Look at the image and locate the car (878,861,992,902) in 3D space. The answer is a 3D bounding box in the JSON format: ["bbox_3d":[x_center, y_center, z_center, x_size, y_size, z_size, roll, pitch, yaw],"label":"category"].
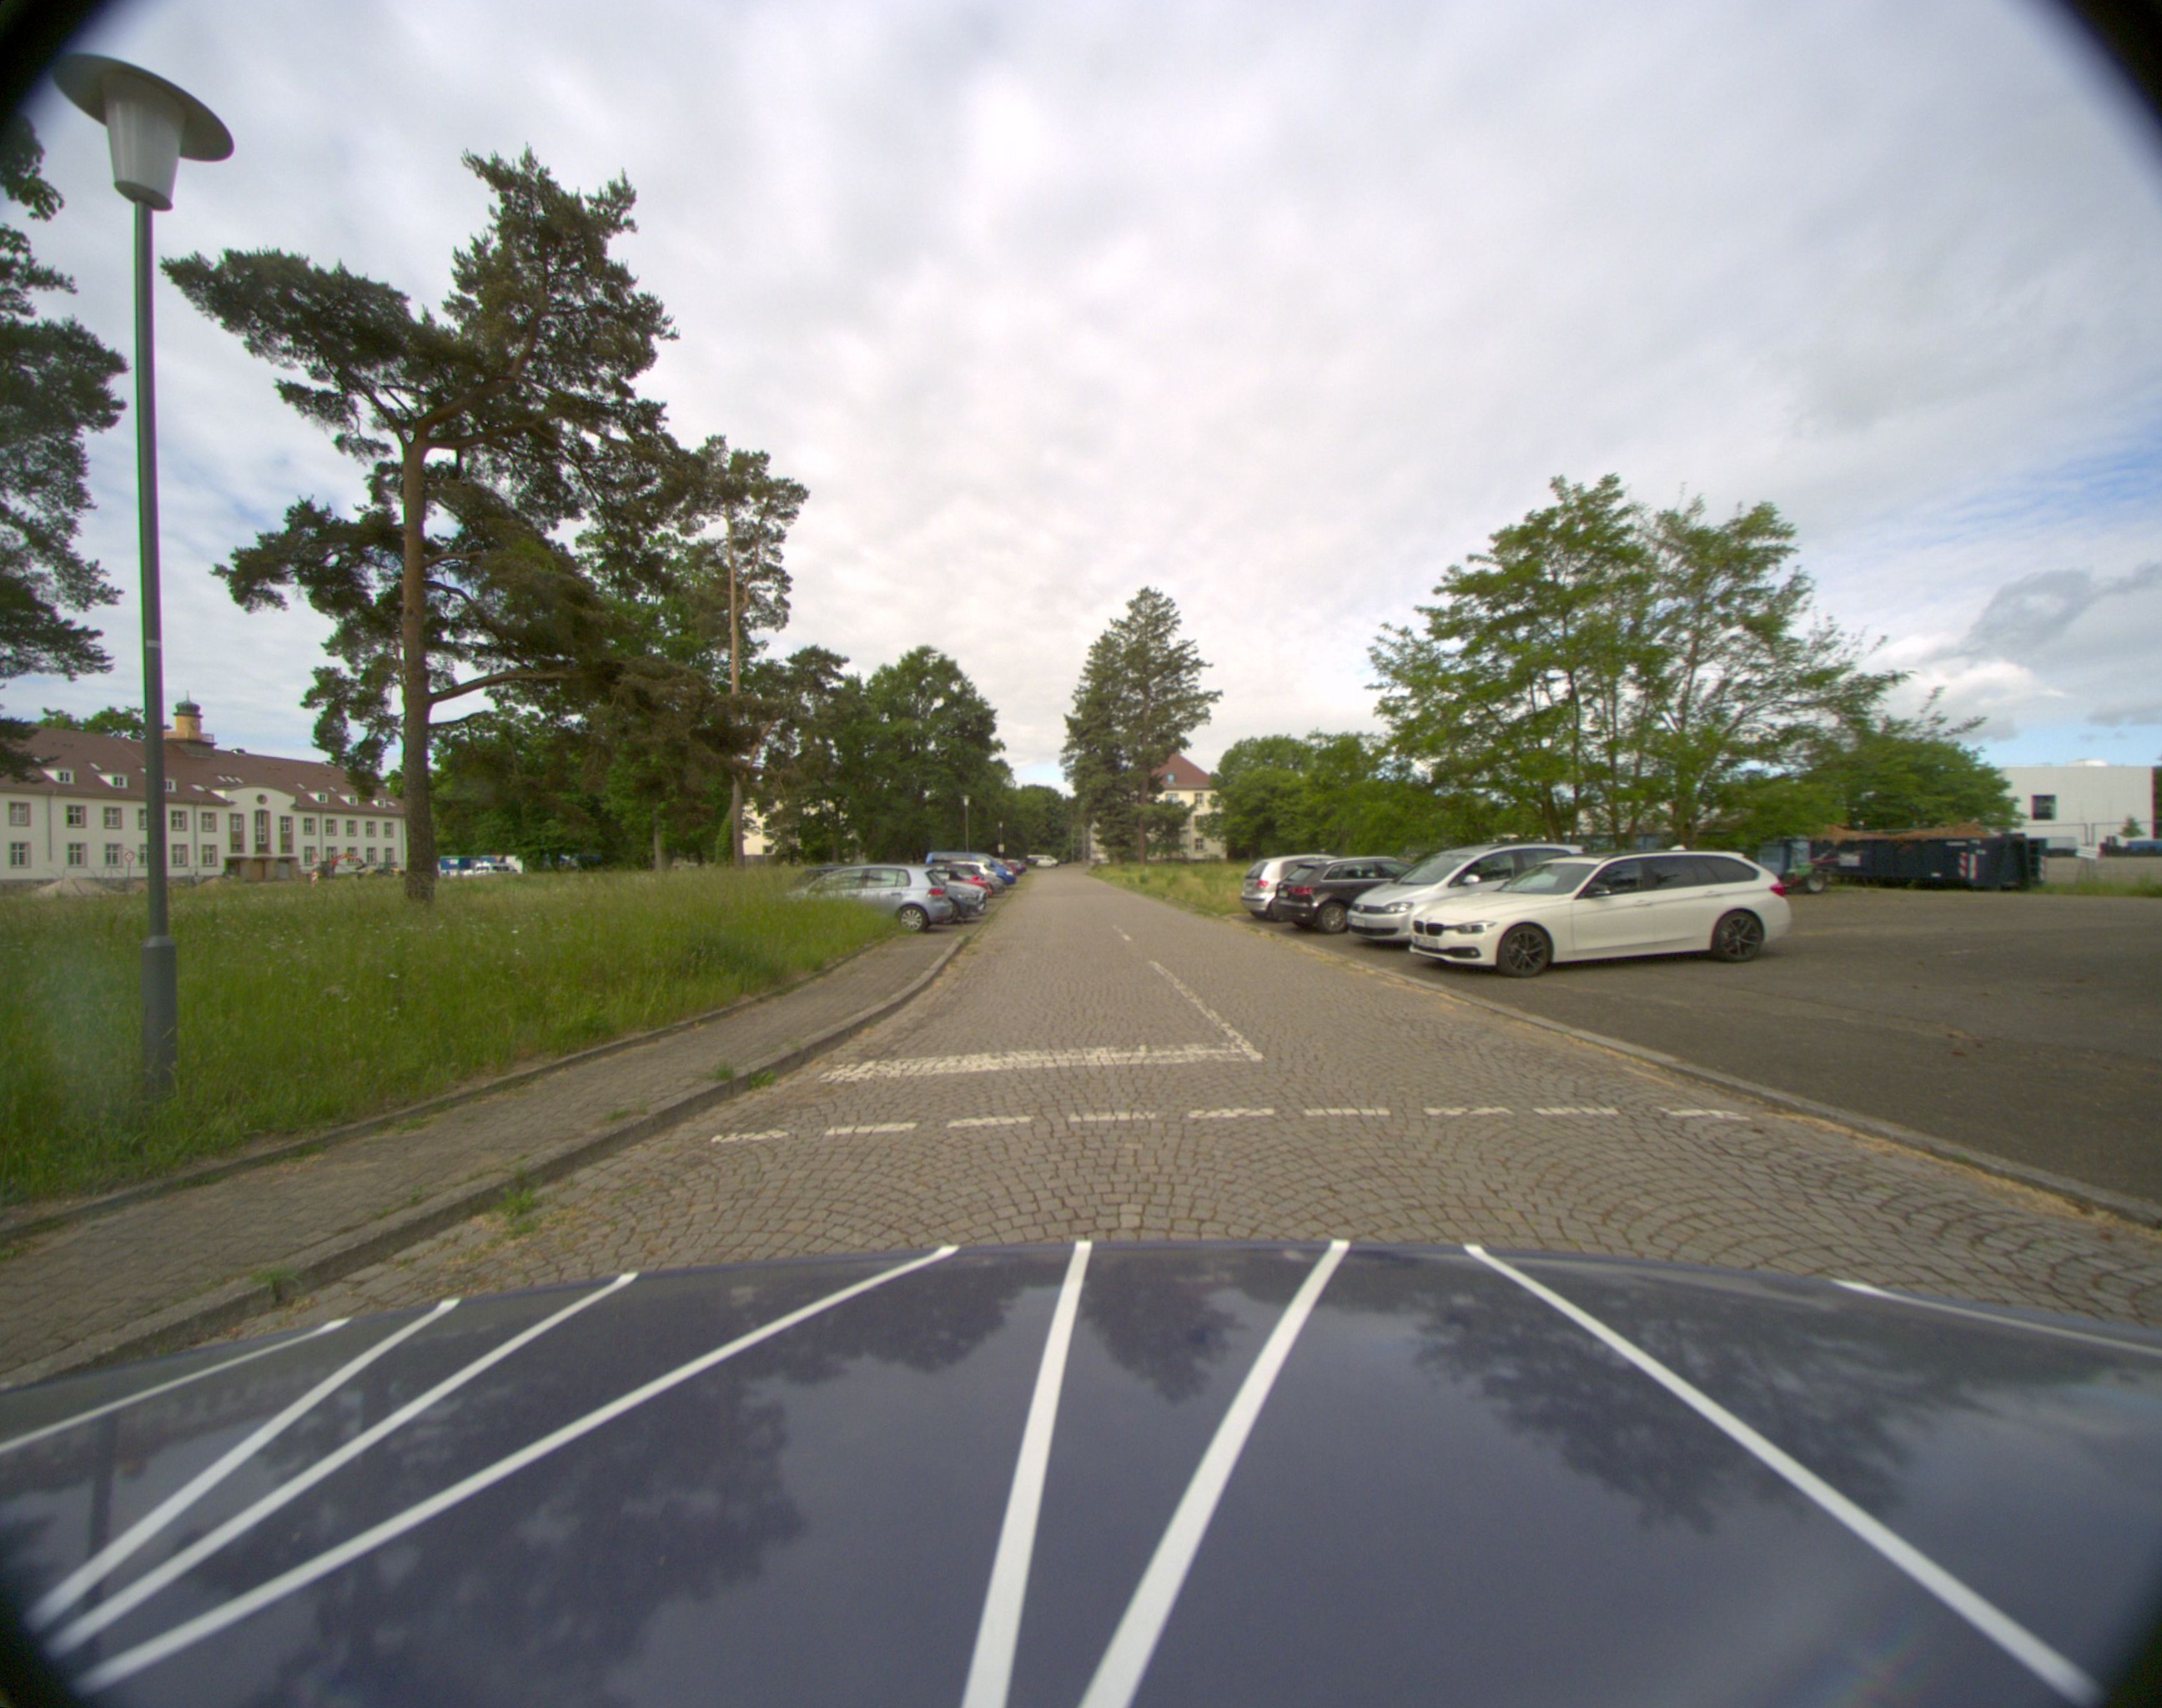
[{"bbox_3d":[-5.550,1.033,29.151,4.050,1.507,1.600,0,0,0],"label":"car"}]

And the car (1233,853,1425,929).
[{"bbox_3d":[5.774,0.829,17.916,3.961,1.462,1.584,-3,1,-5],"label":"car"}]

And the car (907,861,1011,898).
[{"bbox_3d":[-5.096,1.063,31.999,4.098,1.507,1.700,0,0,0],"label":"car"}]

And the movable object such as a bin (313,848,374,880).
[{"bbox_3d":[-92.252,1.199,95.068,5.459,3.748,2.053,-2,1,1],"label":"movable object such as a bin"}]

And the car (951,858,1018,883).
[{"bbox_3d":[-6.211,1.031,49.201,4.084,1.584,1.654,0,0,0],"label":"car"}]

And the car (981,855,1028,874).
[{"bbox_3d":[-7.010,0.986,69.845,4.082,1.685,1.727,0,0,5],"label":"car"}]

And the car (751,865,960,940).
[{"bbox_3d":[-4.755,1.012,16.472,4.012,1.420,1.697,2,0,-4],"label":"car"}]

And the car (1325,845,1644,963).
[{"bbox_3d":[6.581,0.750,12.631,4.376,1.588,1.871,-3,1,-8],"label":"car"}]

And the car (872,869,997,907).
[{"bbox_3d":[-5.043,1.166,26.505,4.051,1.233,1.549,0,0,-2],"label":"car"}]

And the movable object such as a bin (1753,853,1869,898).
[{"bbox_3d":[18.938,0.550,19.743,2.268,1.119,0.858,0,1,-4],"label":"movable object such as a bin"}]

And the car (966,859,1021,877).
[{"bbox_3d":[-6.821,1.092,59.498,4.084,1.436,1.726,0,0,-1],"label":"car"}]

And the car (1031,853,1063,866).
[{"bbox_3d":[-5.555,0.849,123.309,5.150,2.137,1.774,0,0,-5],"label":"car"}]

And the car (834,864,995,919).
[{"bbox_3d":[-4.707,1.049,21.851,4.248,1.465,1.717,0,0,0],"label":"car"}]

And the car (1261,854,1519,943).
[{"bbox_3d":[6.084,0.837,15.253,4.447,1.416,1.721,-3,1,-4],"label":"car"}]

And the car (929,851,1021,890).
[{"bbox_3d":[-5.573,0.851,40.320,4.602,1.994,1.912,0,1,-1],"label":"car"}]

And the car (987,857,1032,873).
[{"bbox_3d":[-7.006,1.043,74.539,4.092,1.524,1.727,0,0,5],"label":"car"}]

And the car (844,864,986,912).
[{"bbox_3d":[-5.215,1.071,24.308,4.184,1.473,1.717,0,0,-2],"label":"car"}]

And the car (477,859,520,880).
[{"bbox_3d":[-71.870,1.882,93.781,1.862,2.351,4.446,-2,1,-2],"label":"car"}]

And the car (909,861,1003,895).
[{"bbox_3d":[-5.702,1.073,34.896,4.050,1.507,1.600,0,0,0],"label":"car"}]

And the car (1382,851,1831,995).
[{"bbox_3d":[6.759,0.825,10.085,4.753,1.479,1.866,-3,0,-5],"label":"car"}]

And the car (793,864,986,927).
[{"bbox_3d":[-4.696,1.023,19.104,4.441,1.375,1.663,2,0,-4],"label":"car"}]
